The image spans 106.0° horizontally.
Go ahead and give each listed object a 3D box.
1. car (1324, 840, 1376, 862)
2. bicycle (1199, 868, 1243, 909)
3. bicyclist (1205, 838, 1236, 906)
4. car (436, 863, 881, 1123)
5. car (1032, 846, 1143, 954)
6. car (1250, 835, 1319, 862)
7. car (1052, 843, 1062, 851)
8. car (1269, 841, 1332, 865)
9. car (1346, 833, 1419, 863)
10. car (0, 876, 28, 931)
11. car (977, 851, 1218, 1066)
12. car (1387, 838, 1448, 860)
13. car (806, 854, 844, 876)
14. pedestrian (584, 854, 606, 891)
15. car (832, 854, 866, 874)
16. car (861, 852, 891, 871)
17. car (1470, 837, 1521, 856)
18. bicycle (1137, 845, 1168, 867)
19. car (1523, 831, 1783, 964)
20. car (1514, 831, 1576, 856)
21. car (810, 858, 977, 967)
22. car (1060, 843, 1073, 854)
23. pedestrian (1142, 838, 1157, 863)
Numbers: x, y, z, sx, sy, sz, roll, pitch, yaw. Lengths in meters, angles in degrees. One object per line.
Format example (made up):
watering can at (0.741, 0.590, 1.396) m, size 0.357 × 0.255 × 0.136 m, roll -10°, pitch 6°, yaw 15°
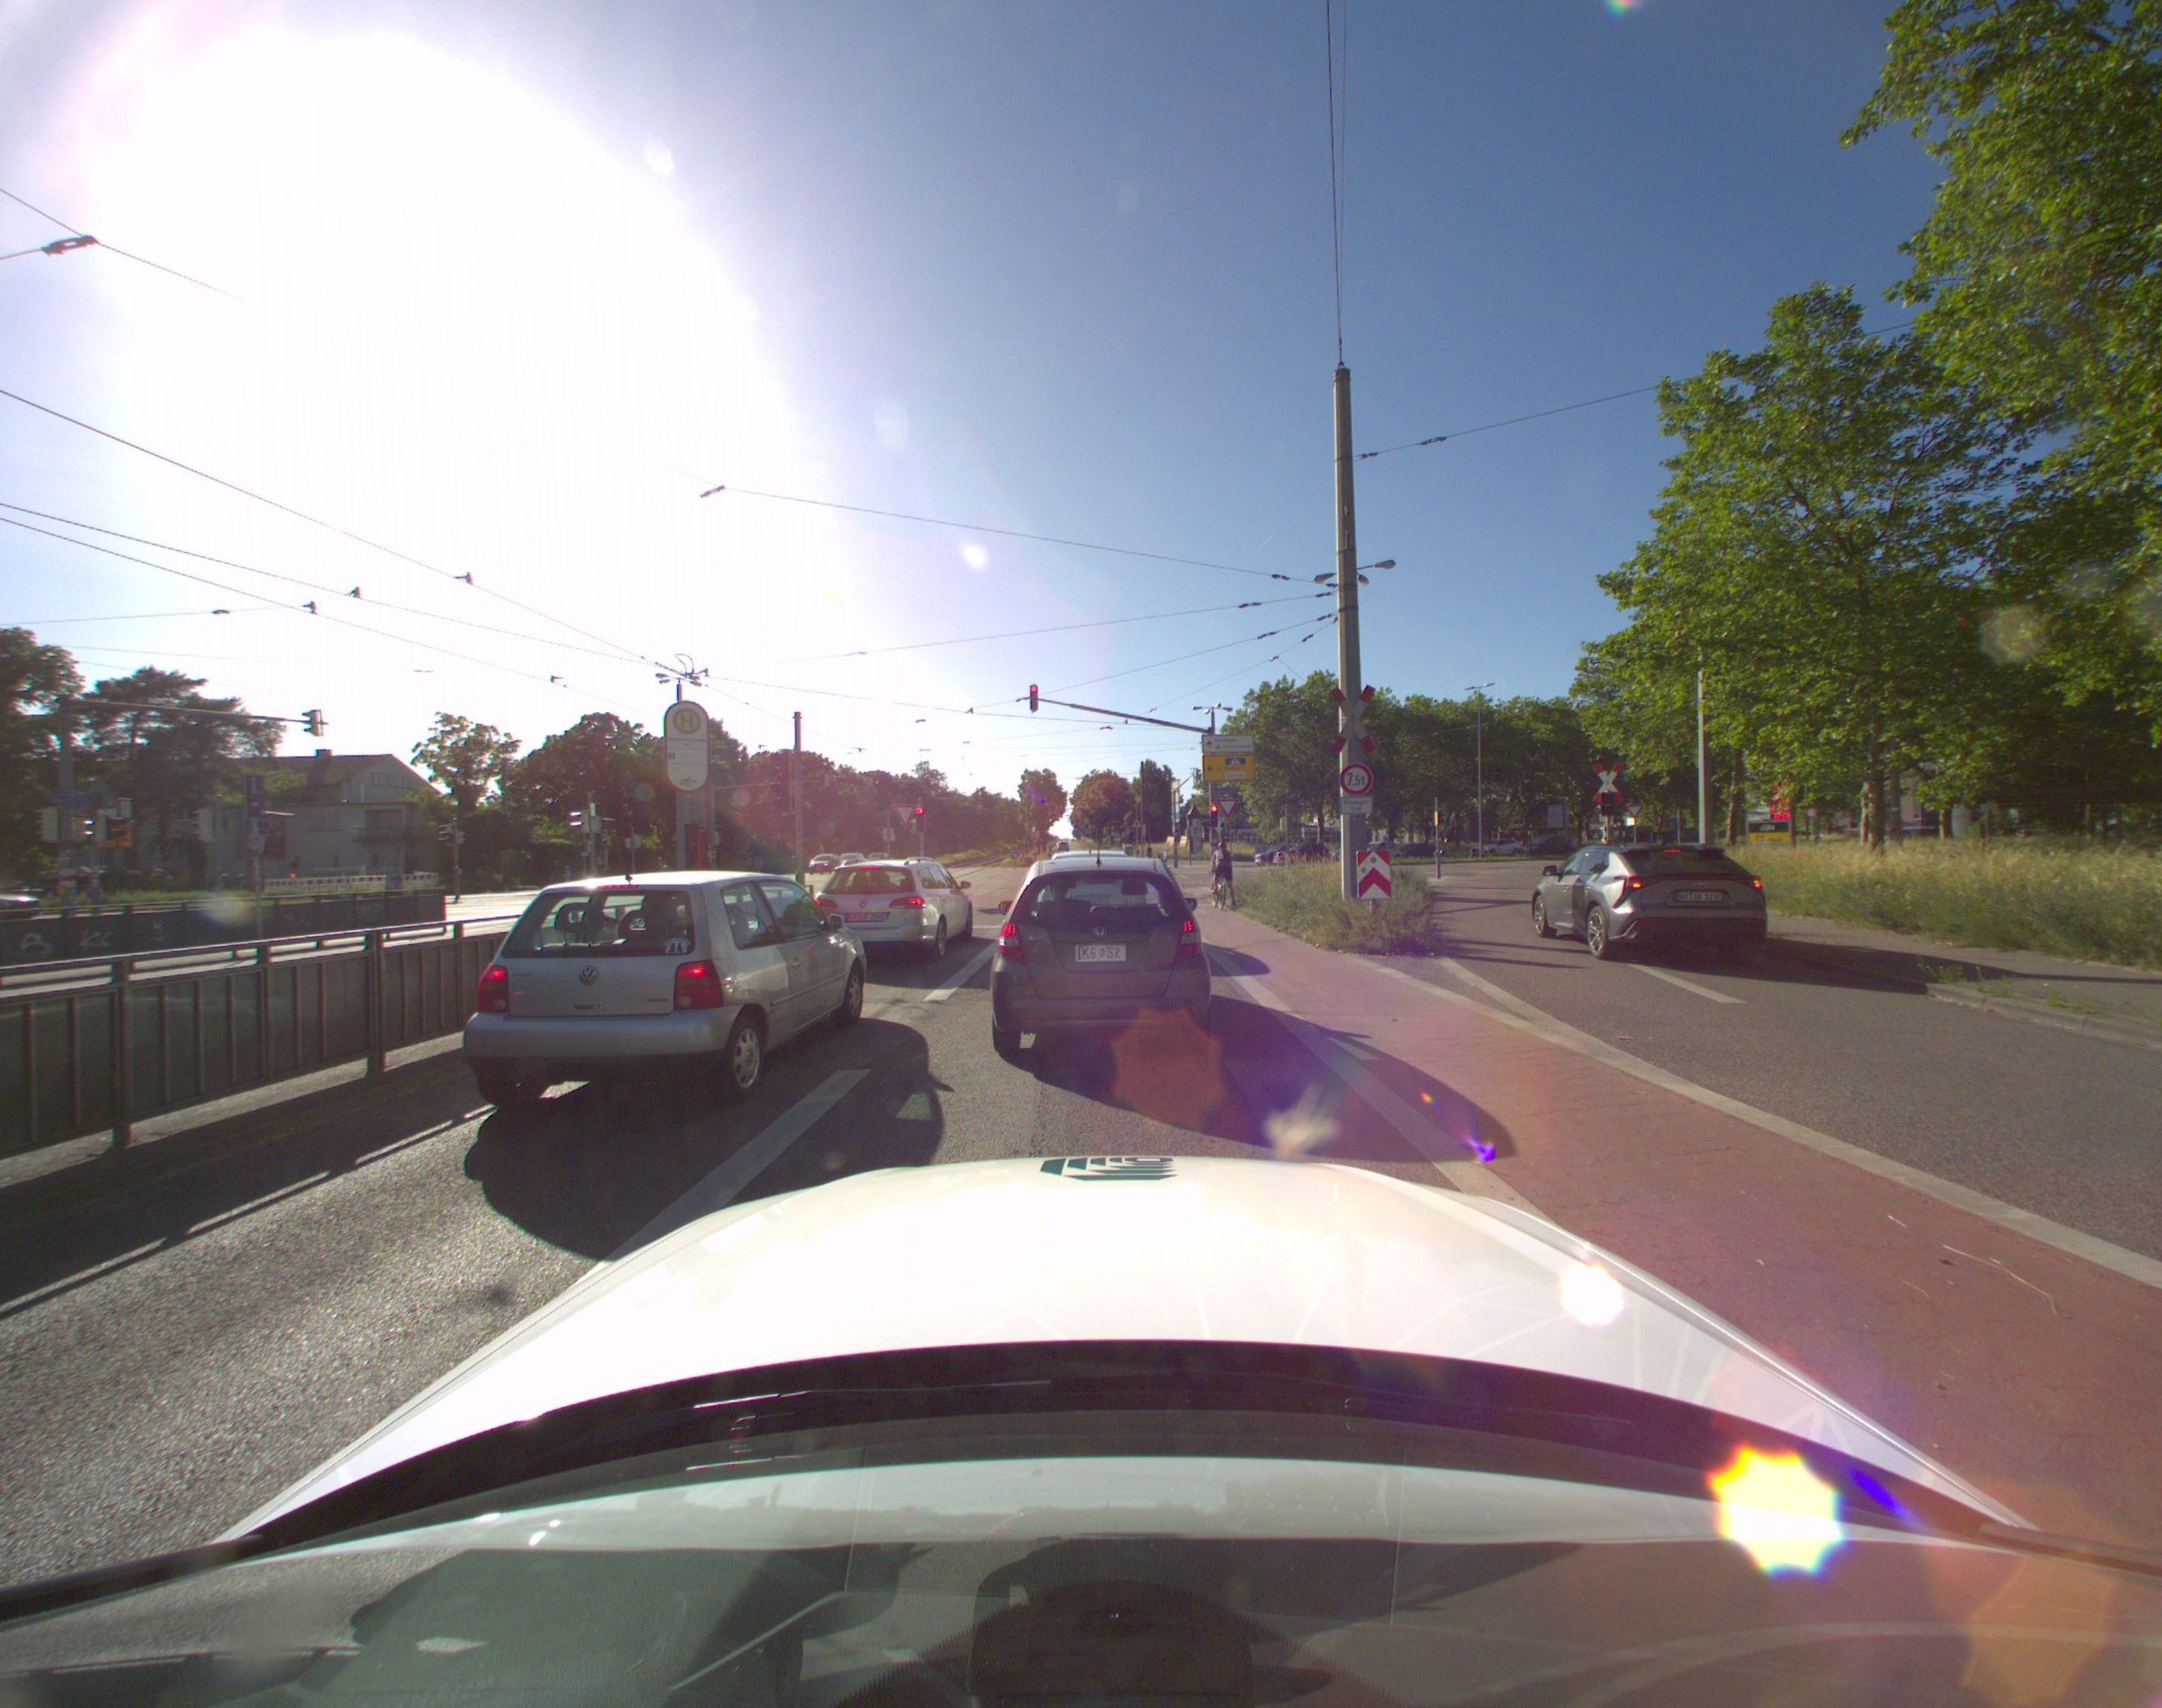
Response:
car at (20.720, -0.201, 62.728) m, size 3.757 × 1.570 × 1.480 m, roll -2°, pitch 0°, yaw -21°
bicycle at (3.629, 0.865, 21.302) m, size 0.719 × 0.989 × 2.876 m, roll 0°, pitch 0°, yaw 1°
bicyclist at (3.628, 0.459, 21.225) m, size 0.663 × 1.716 × 0.948 m, roll 0°, pitch -1°, yaw 1°
car at (-2.831, 0.815, 6.335) m, size 1.613 × 1.417 × 3.352 m, roll -2°, pitch 0°, yaw 1°
car at (0.143, 0.678, 14.132) m, size 1.605 × 1.562 × 4.289 m, roll -1°, pitch 0°, yaw 1°
car at (15.026, -0.375, 60.084) m, size 4.705 × 1.879 × 1.986 m, roll 0°, pitch -1°, yaw -22°
car at (-4.208, -1.239, 141.887) m, size 1.520 × 1.378 × 3.670 m, roll -2°, pitch 0°, yaw -4°
car at (15.015, -0.085, 55.792) m, size 4.002 × 1.531 × 1.594 m, roll -2°, pitch 0°, yaw -22°
car at (21.954, -0.447, 59.249) m, size 4.906 × 2.013 × 1.986 m, roll -2°, pitch 0°, yaw -22°
car at (-32.029, 1.438, 21.498) m, size 4.844 × 1.497 × 1.771 m, roll -2°, pitch 0°, yaw -25°
car at (0.106, 0.725, 7.492) m, size 1.663 × 1.462 × 3.585 m, roll -1°, pitch 0°, yaw -1°
car at (26.882, -0.412, 65.050) m, size 4.526 × 1.574 × 1.681 m, roll -2°, pitch 0°, yaw -21°
car at (-19.020, 0.808, 60.706) m, size 1.829 × 1.548 × 3.993 m, roll -2°, pitch 0°, yaw -5°
pedestrian at (-26.548, 0.999, 44.533) m, size 0.748 × 2.013 × 0.788 m, roll -2°, pitch 0°, yaw -11°
car at (-18.918, 0.817, 66.498) m, size 1.829 × 1.548 × 4.277 m, roll -2°, pitch 0°, yaw -5°
car at (-18.784, 0.672, 74.755) m, size 1.991 × 1.604 × 4.745 m, roll 0°, pitch 0°, yaw -6°
car at (34.857, -0.648, 68.511) m, size 4.004 × 1.501 × 1.581 m, roll -2°, pitch 0°, yaw -23°
bicycle at (5.489, 0.123, 62.169) m, size 0.810 × 1.574 × 3.235 m, roll -2°, pitch 0°, yaw 34°
car at (8.280, 0.533, 12.336) m, size 1.753 × 1.630 × 4.516 m, roll -2°, pitch 0°, yaw 15°
car at (34.969, -0.799, 61.374) m, size 4.218 × 1.774 × 1.842 m, roll -2°, pitch 0°, yaw -23°
car at (-2.781, 0.797, 12.982) m, size 1.613 × 1.457 × 4.086 m, roll -1°, pitch 0°, yaw 1°
car at (-2.200, -0.836, 121.665) m, size 1.707 × 1.478 × 3.992 m, roll -2°, pitch 0°, yaw -6°
pedestrian at (5.225, -0.256, 61.730) m, size 0.781 × 1.836 × 0.860 m, roll -2°, pitch 0°, yaw 30°
